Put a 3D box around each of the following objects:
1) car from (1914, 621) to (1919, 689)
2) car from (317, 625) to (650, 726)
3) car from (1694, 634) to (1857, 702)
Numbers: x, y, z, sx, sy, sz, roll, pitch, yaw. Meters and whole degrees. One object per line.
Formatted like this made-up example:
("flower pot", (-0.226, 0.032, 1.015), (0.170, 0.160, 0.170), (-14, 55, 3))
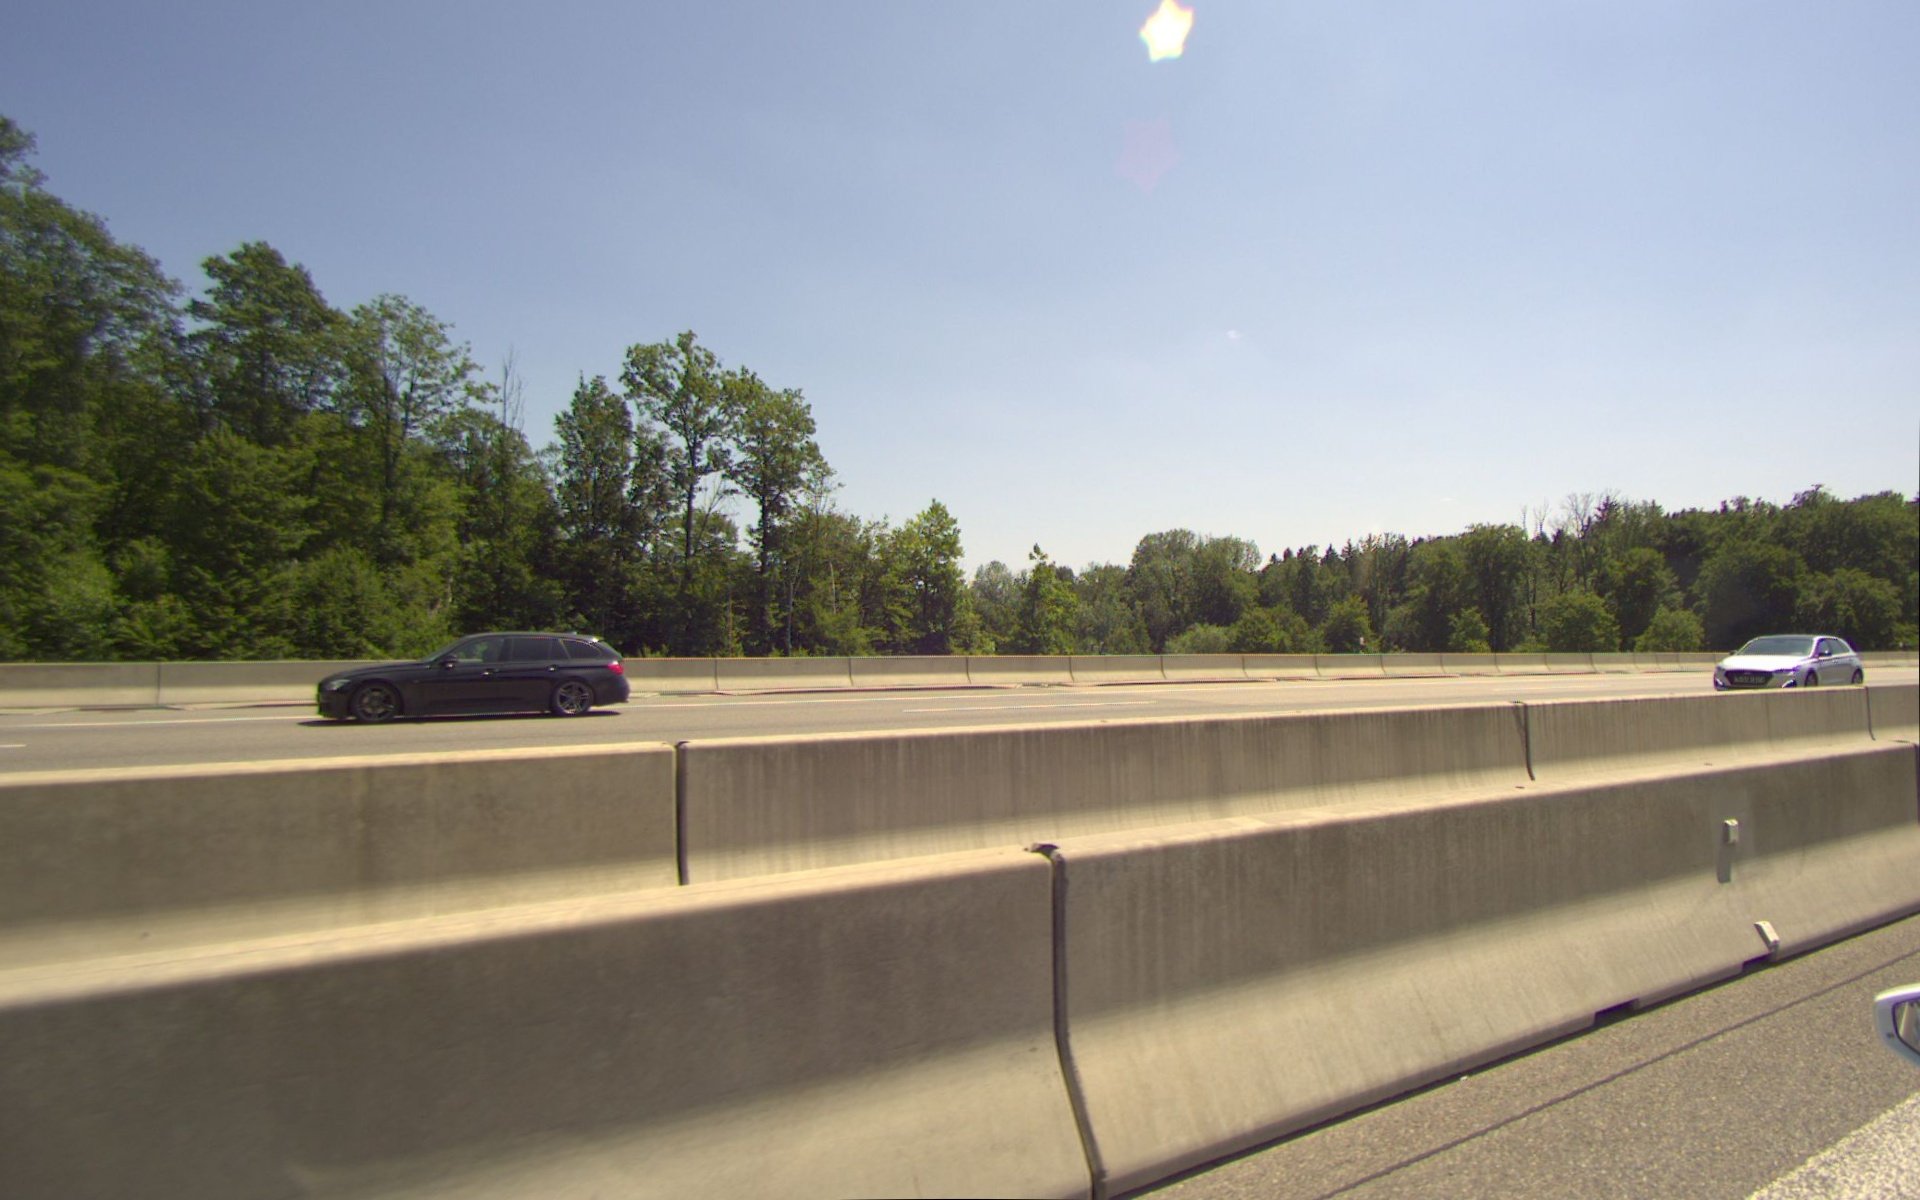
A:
("car", (22.997, 1.221, 22.037), (4.790, 1.460, 1.829), (2, -1, -31))
("car", (-7.693, 1.181, 16.478), (4.710, 1.460, 1.830), (1, -3, -31))
("car", (19.491, 1.567, 23.981), (3.955, 1.460, 1.829), (1, -1, -31))
